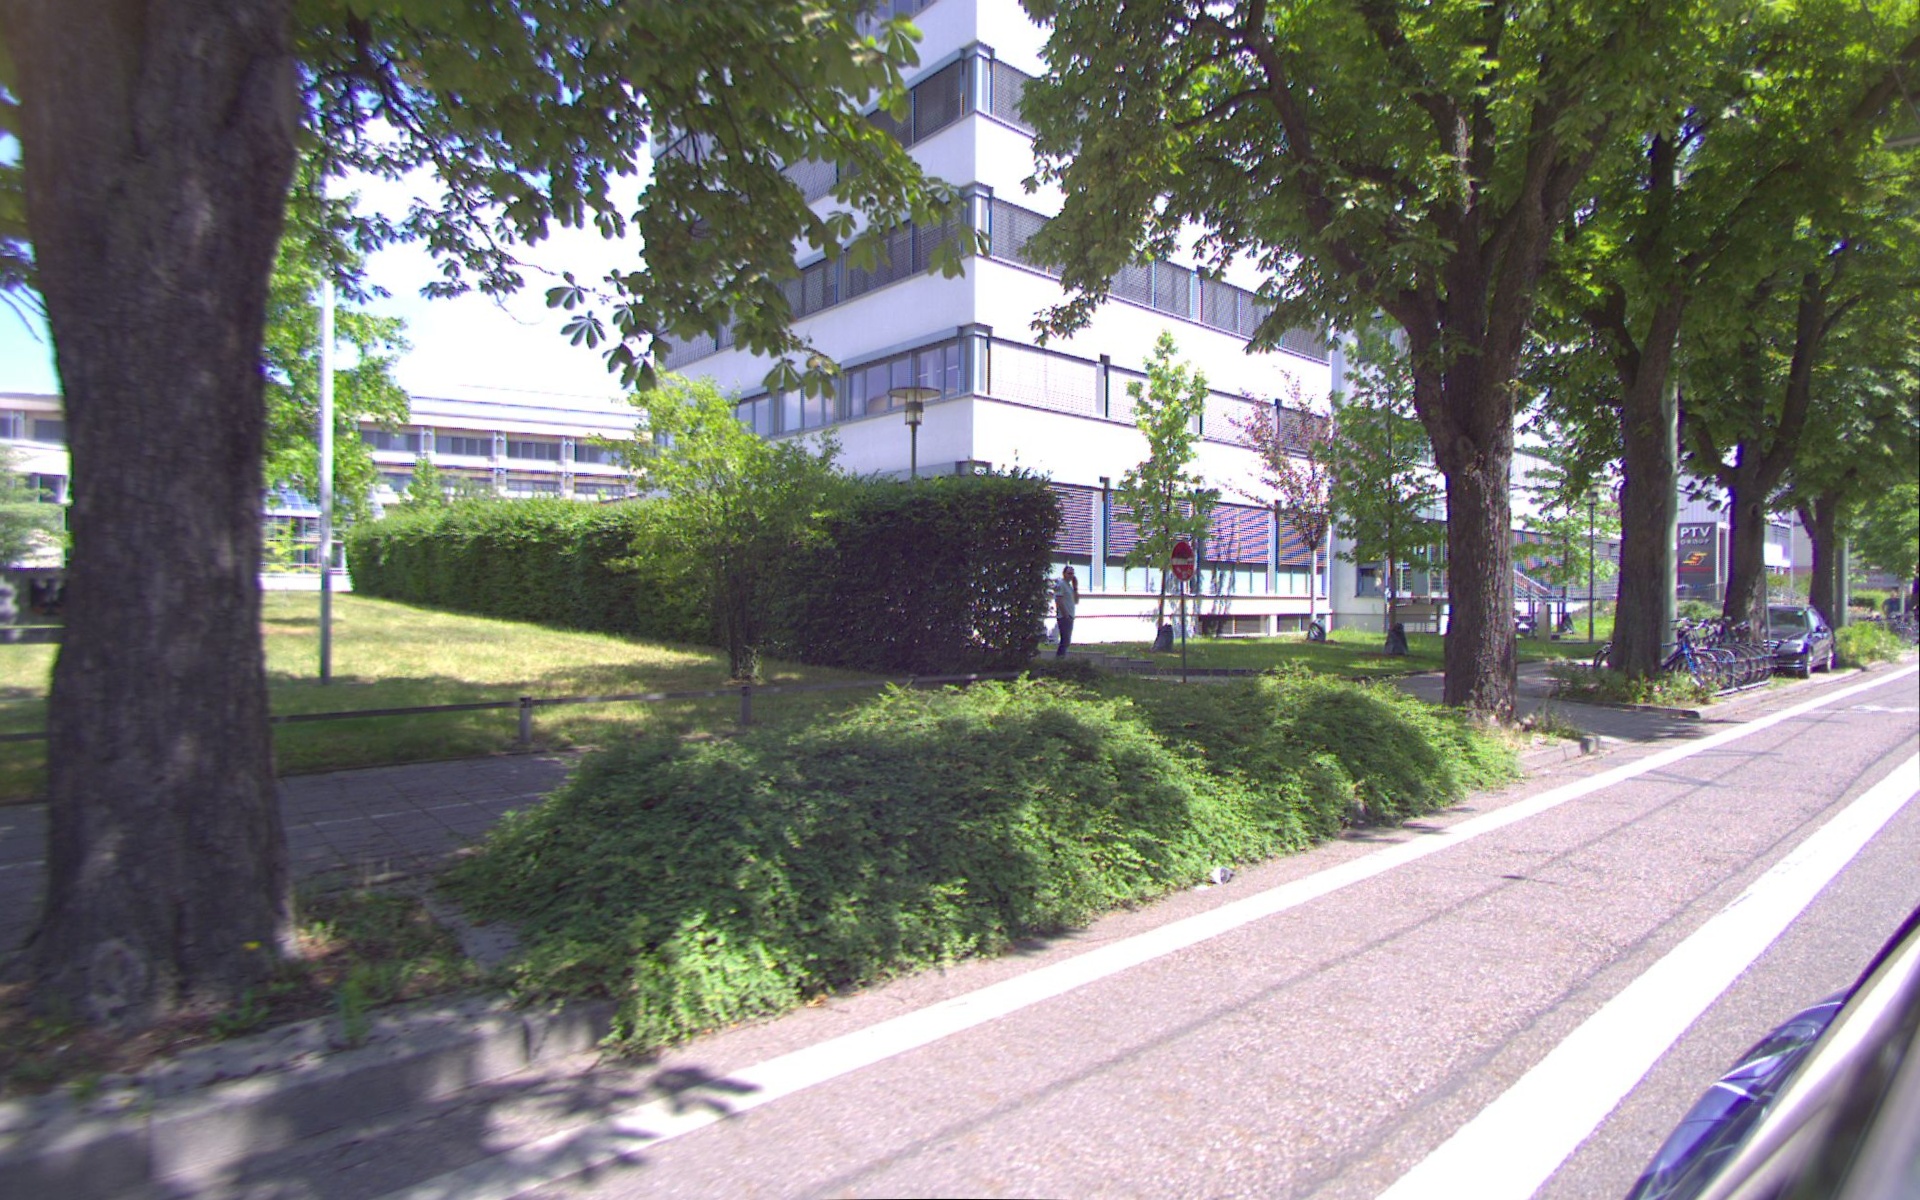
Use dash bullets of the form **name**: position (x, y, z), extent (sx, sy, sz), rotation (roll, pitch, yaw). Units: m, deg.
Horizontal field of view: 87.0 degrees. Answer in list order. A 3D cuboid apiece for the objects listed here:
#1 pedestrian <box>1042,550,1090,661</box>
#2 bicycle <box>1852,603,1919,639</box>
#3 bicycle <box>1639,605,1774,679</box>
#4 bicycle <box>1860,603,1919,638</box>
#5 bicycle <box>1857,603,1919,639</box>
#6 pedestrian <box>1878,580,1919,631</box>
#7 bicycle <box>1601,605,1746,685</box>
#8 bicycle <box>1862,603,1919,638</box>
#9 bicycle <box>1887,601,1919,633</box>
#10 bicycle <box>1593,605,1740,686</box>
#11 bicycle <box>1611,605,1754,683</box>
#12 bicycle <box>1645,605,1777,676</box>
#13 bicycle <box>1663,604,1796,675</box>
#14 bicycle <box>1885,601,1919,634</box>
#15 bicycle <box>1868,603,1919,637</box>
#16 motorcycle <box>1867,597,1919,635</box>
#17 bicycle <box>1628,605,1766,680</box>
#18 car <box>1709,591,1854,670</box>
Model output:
- **pedestrian**: position (1.741, 0.082, 16.615), extent (0.648, 1.770, 0.625), rotation (1, 1, 17)
- **bicycle**: position (29.595, 0.664, 32.132), extent (0.560, 1.125, 1.842), rotation (0, -1, -43)
- **bicycle**: position (12.672, 0.687, 17.217), extent (1.806, 1.125, 0.525), rotation (2, 1, 41)
- **bicycle**: position (30.560, 0.654, 32.965), extent (0.560, 1.125, 1.809), rotation (0, -1, -43)
- **bicycle**: position (30.087, 0.663, 32.554), extent (0.560, 1.125, 1.809), rotation (0, -1, -43)
- **pedestrian**: position (34.690, 0.210, 37.292), extent (0.967, 1.856, 0.787), rotation (0, 0, 6)
- **bicycle**: position (11.231, 0.680, 15.985), extent (0.388, 1.125, 1.810), rotation (0, 1, -43)
- **bicycle**: position (30.977, 0.659, 33.341), extent (0.560, 1.125, 1.809), rotation (0, -1, -43)
- **bicycle**: position (35.564, 0.632, 37.461), extent (1.813, 1.179, 0.700), rotation (1, 0, 43)
- **bicycle**: position (10.920, 0.681, 15.696), extent (0.442, 1.125, 1.810), rotation (0, 2, -43)
- **bicycle**: position (11.545, 0.674, 16.222), extent (0.388, 1.125, 1.810), rotation (0, 1, -43)
- **bicycle**: position (13.084, 0.682, 17.672), extent (1.806, 1.125, 0.528), rotation (2, 1, 41)
- **bicycle**: position (13.651, 0.674, 17.994), extent (0.505, 1.125, 1.810), rotation (0, 2, -43)
- **bicycle**: position (34.659, 0.634, 36.544), extent (1.813, 1.179, 0.700), rotation (1, 0, 43)
- **bicycle**: position (31.845, 0.659, 34.114), extent (0.560, 1.125, 1.809), rotation (0, -1, -43)
- **motorcycle**: position (32.918, 0.562, 35.351), extent (1.813, 1.293, 0.710), rotation (1, 0, 43)
- **bicycle**: position (12.188, 0.678, 16.789), extent (1.803, 1.125, 0.483), rotation (2, 1, 37)
- **car**: position (17.590, 0.583, 21.588), extent (4.554, 1.485, 1.679), rotation (0, 2, -42)
